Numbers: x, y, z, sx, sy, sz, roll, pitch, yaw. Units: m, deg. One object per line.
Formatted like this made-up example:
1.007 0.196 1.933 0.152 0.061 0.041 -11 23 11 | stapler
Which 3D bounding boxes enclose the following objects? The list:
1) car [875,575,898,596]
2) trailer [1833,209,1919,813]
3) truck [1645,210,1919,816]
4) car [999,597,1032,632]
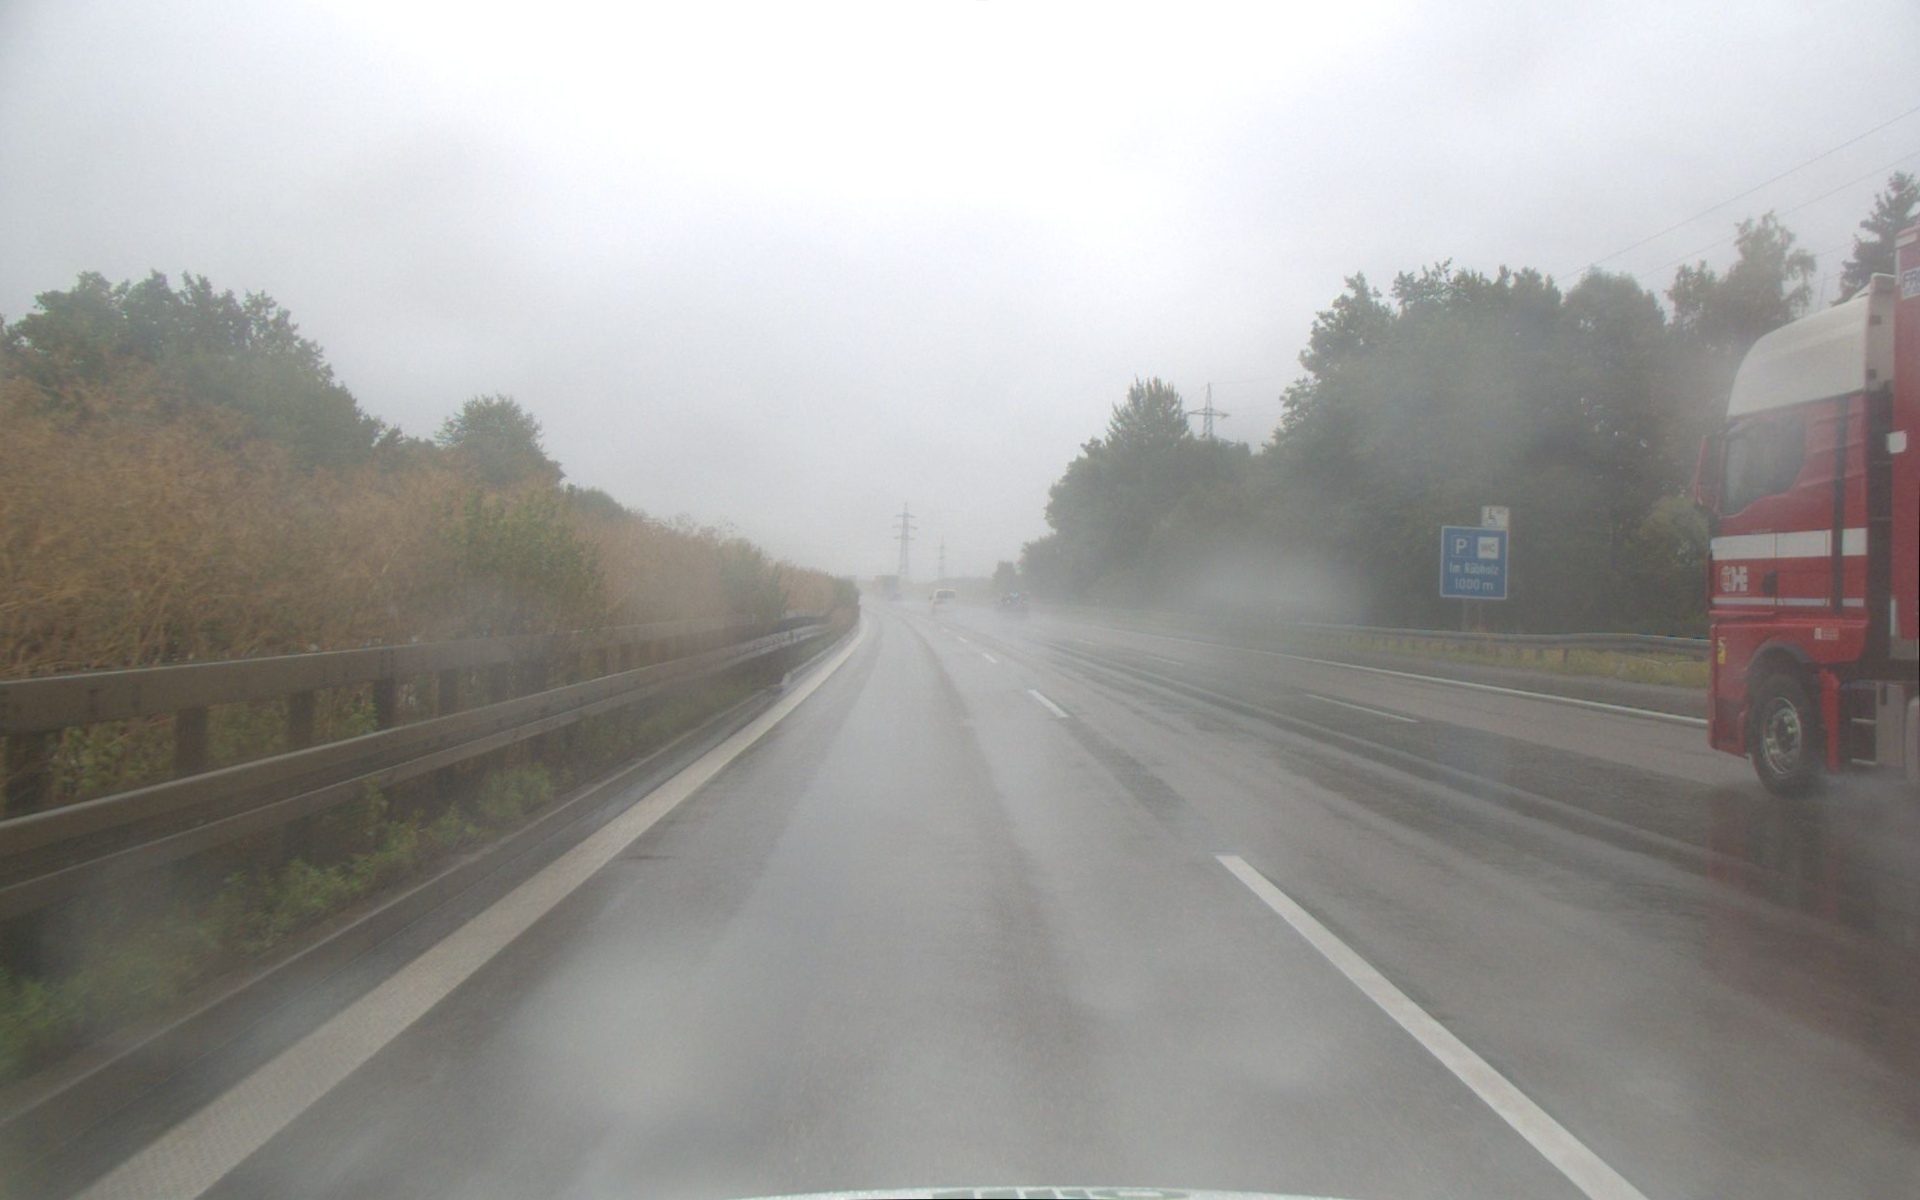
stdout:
-11.500 -2.277 257.955 3.138 3.248 7.247 1 0 -6 | car
7.864 -0.584 5.270 2.567 4.024 13.625 0 0 -2 | trailer
7.618 -0.575 12.420 2.567 4.024 5.431 0 0 -2 | truck
3.575 0.935 107.812 1.771 2.196 3.997 1 0 -3 | car
